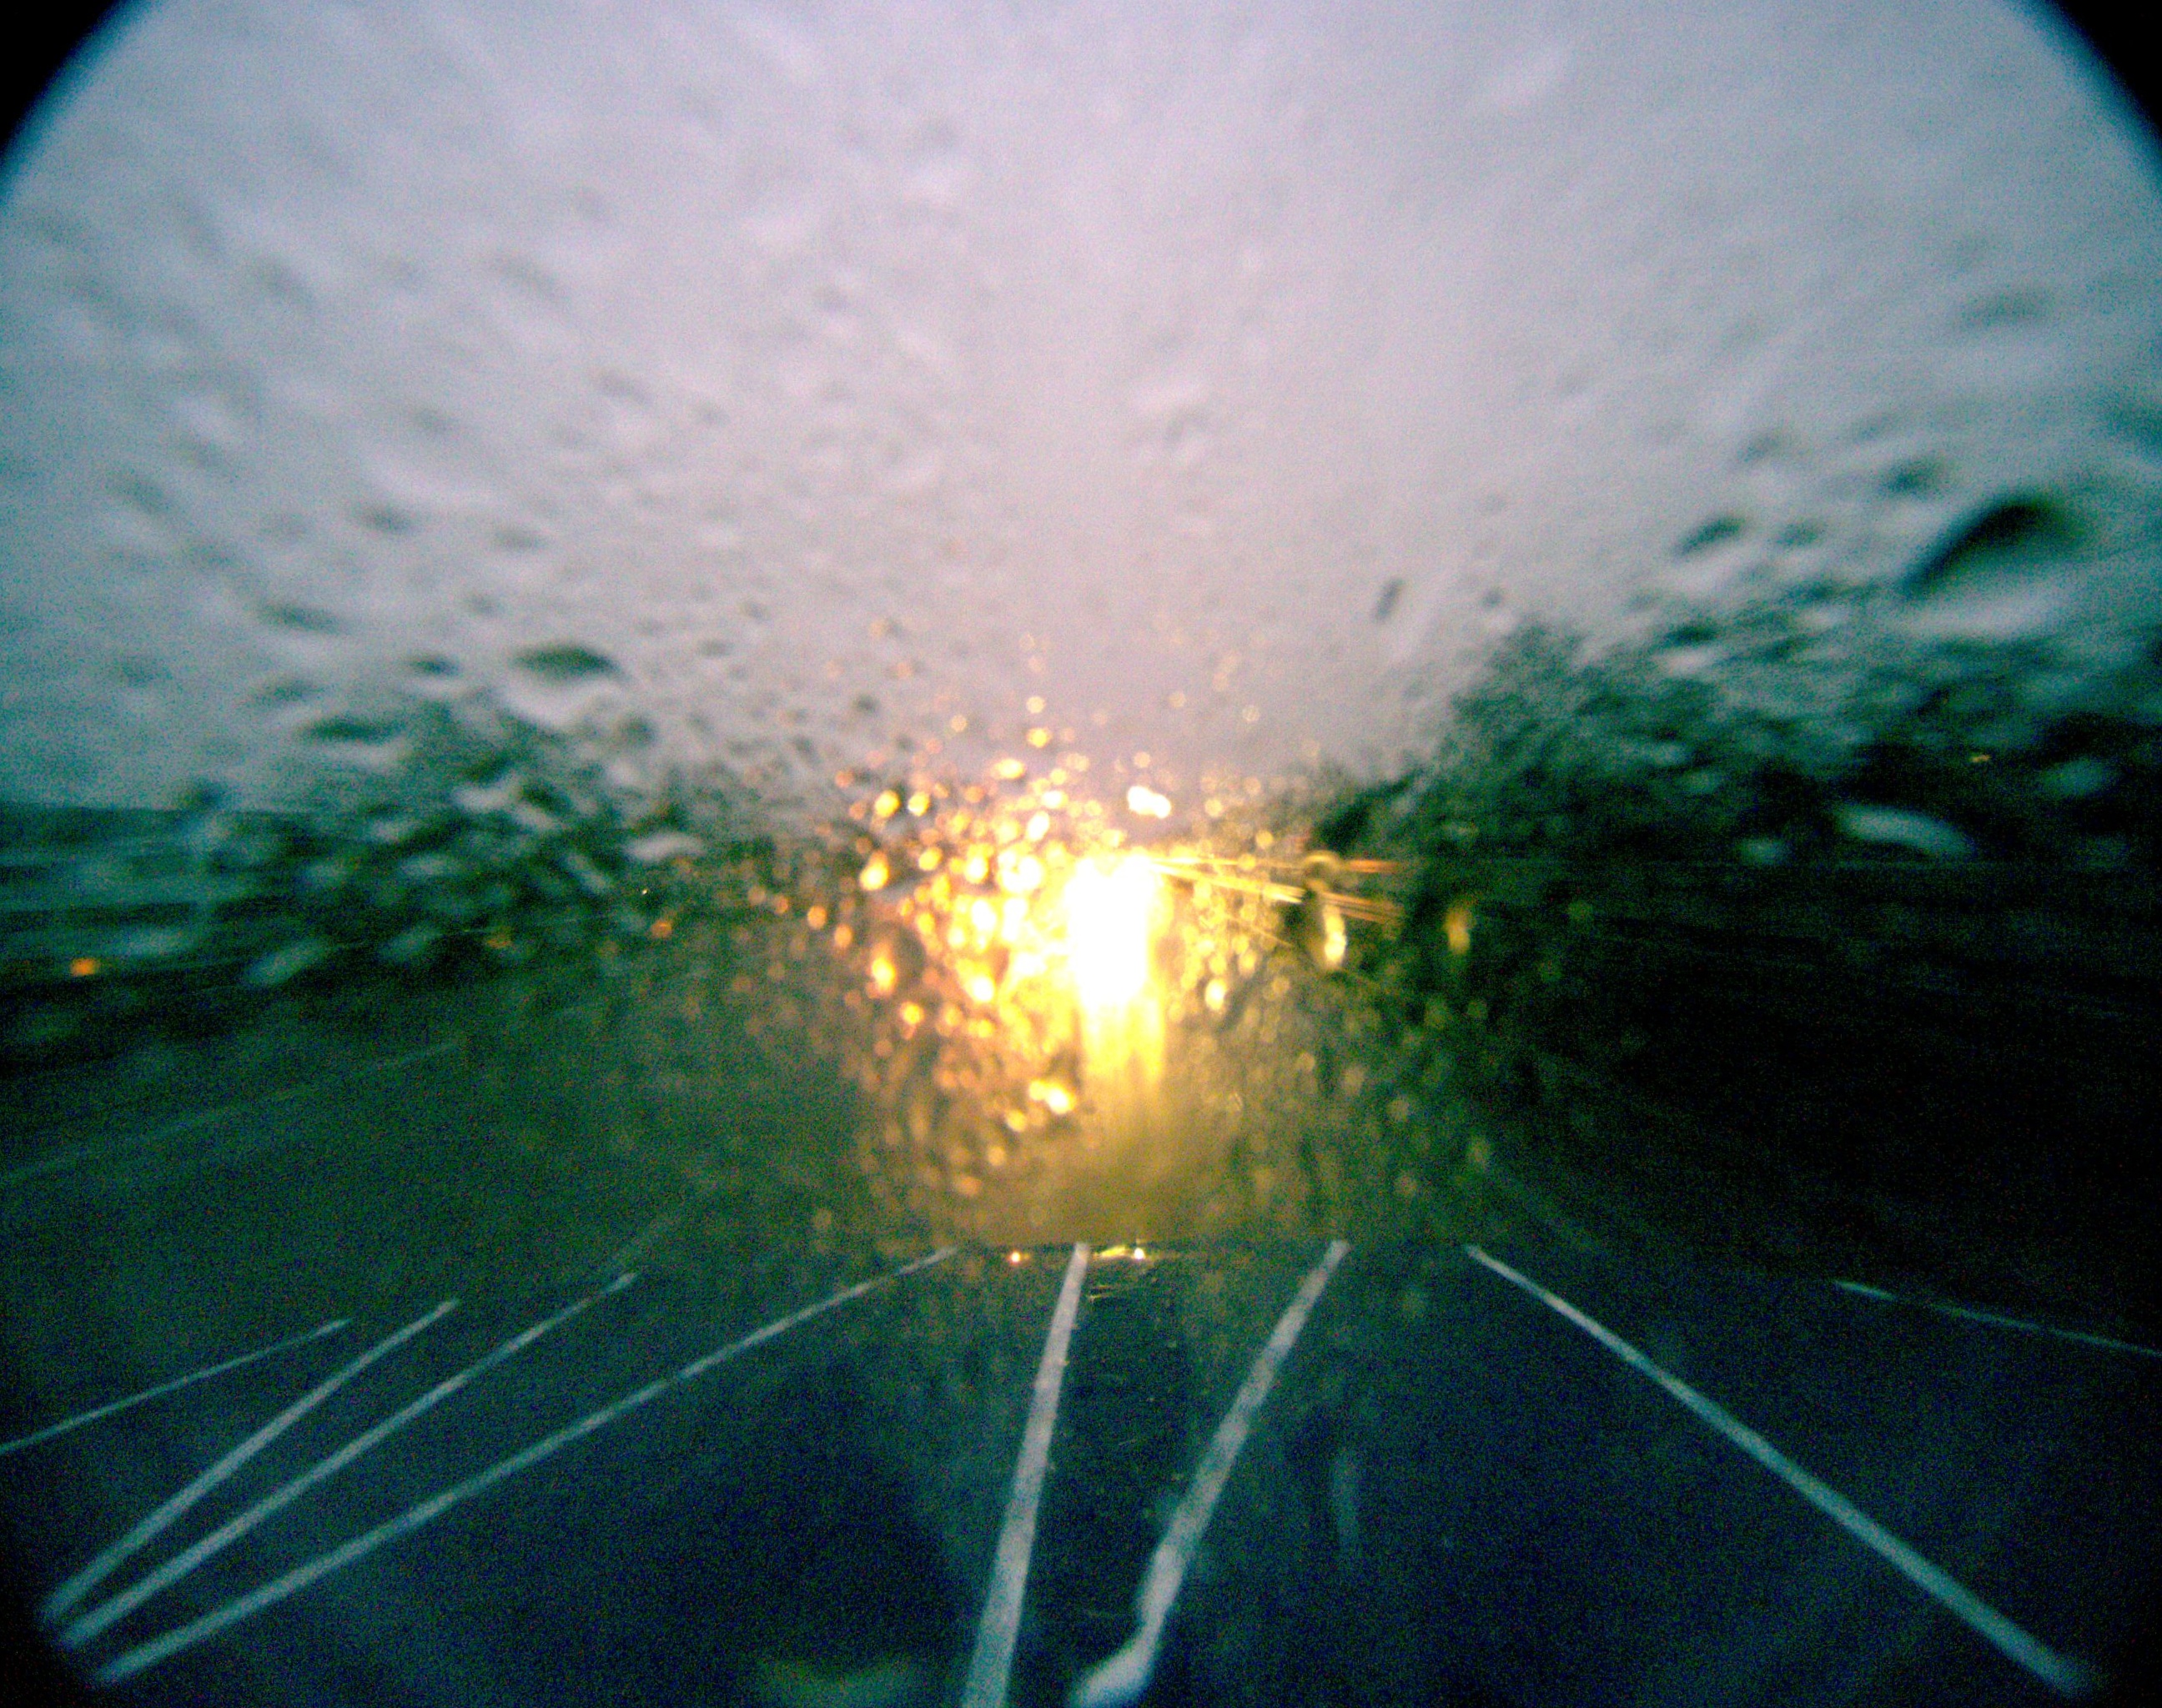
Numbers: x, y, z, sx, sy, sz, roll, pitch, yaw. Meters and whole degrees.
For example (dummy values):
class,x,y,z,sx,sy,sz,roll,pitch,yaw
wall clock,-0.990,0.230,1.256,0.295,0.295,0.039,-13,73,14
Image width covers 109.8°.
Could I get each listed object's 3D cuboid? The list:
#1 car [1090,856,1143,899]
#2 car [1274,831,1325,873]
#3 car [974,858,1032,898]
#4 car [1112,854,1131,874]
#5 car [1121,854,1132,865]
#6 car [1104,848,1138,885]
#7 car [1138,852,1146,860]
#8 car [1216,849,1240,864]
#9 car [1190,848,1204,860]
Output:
class,x,y,z,sx,sy,sz,roll,pitch,yaw
car,1.406,0.864,29.861,1.850,1.521,4.149,-2,0,3
car,13.767,-0.112,48.203,1.850,2.422,5.417,-2,0,3
car,-3.351,1.007,33.517,1.850,1.521,4.149,-2,0,3
car,4.124,1.002,77.675,1.647,1.729,3.533,-4,2,0
car,7.540,0.898,125.905,1.647,1.729,3.533,-4,2,0
car,2.476,0.743,48.049,1.796,2.002,3.724,-5,2,0
car,13.800,0.547,172.283,1.456,1.556,3.538,-8,1,1
car,15.398,0.264,79.796,1.850,1.520,4.304,-2,0,3
car,18.919,-0.005,123.868,1.850,1.903,4.304,-2,0,3
